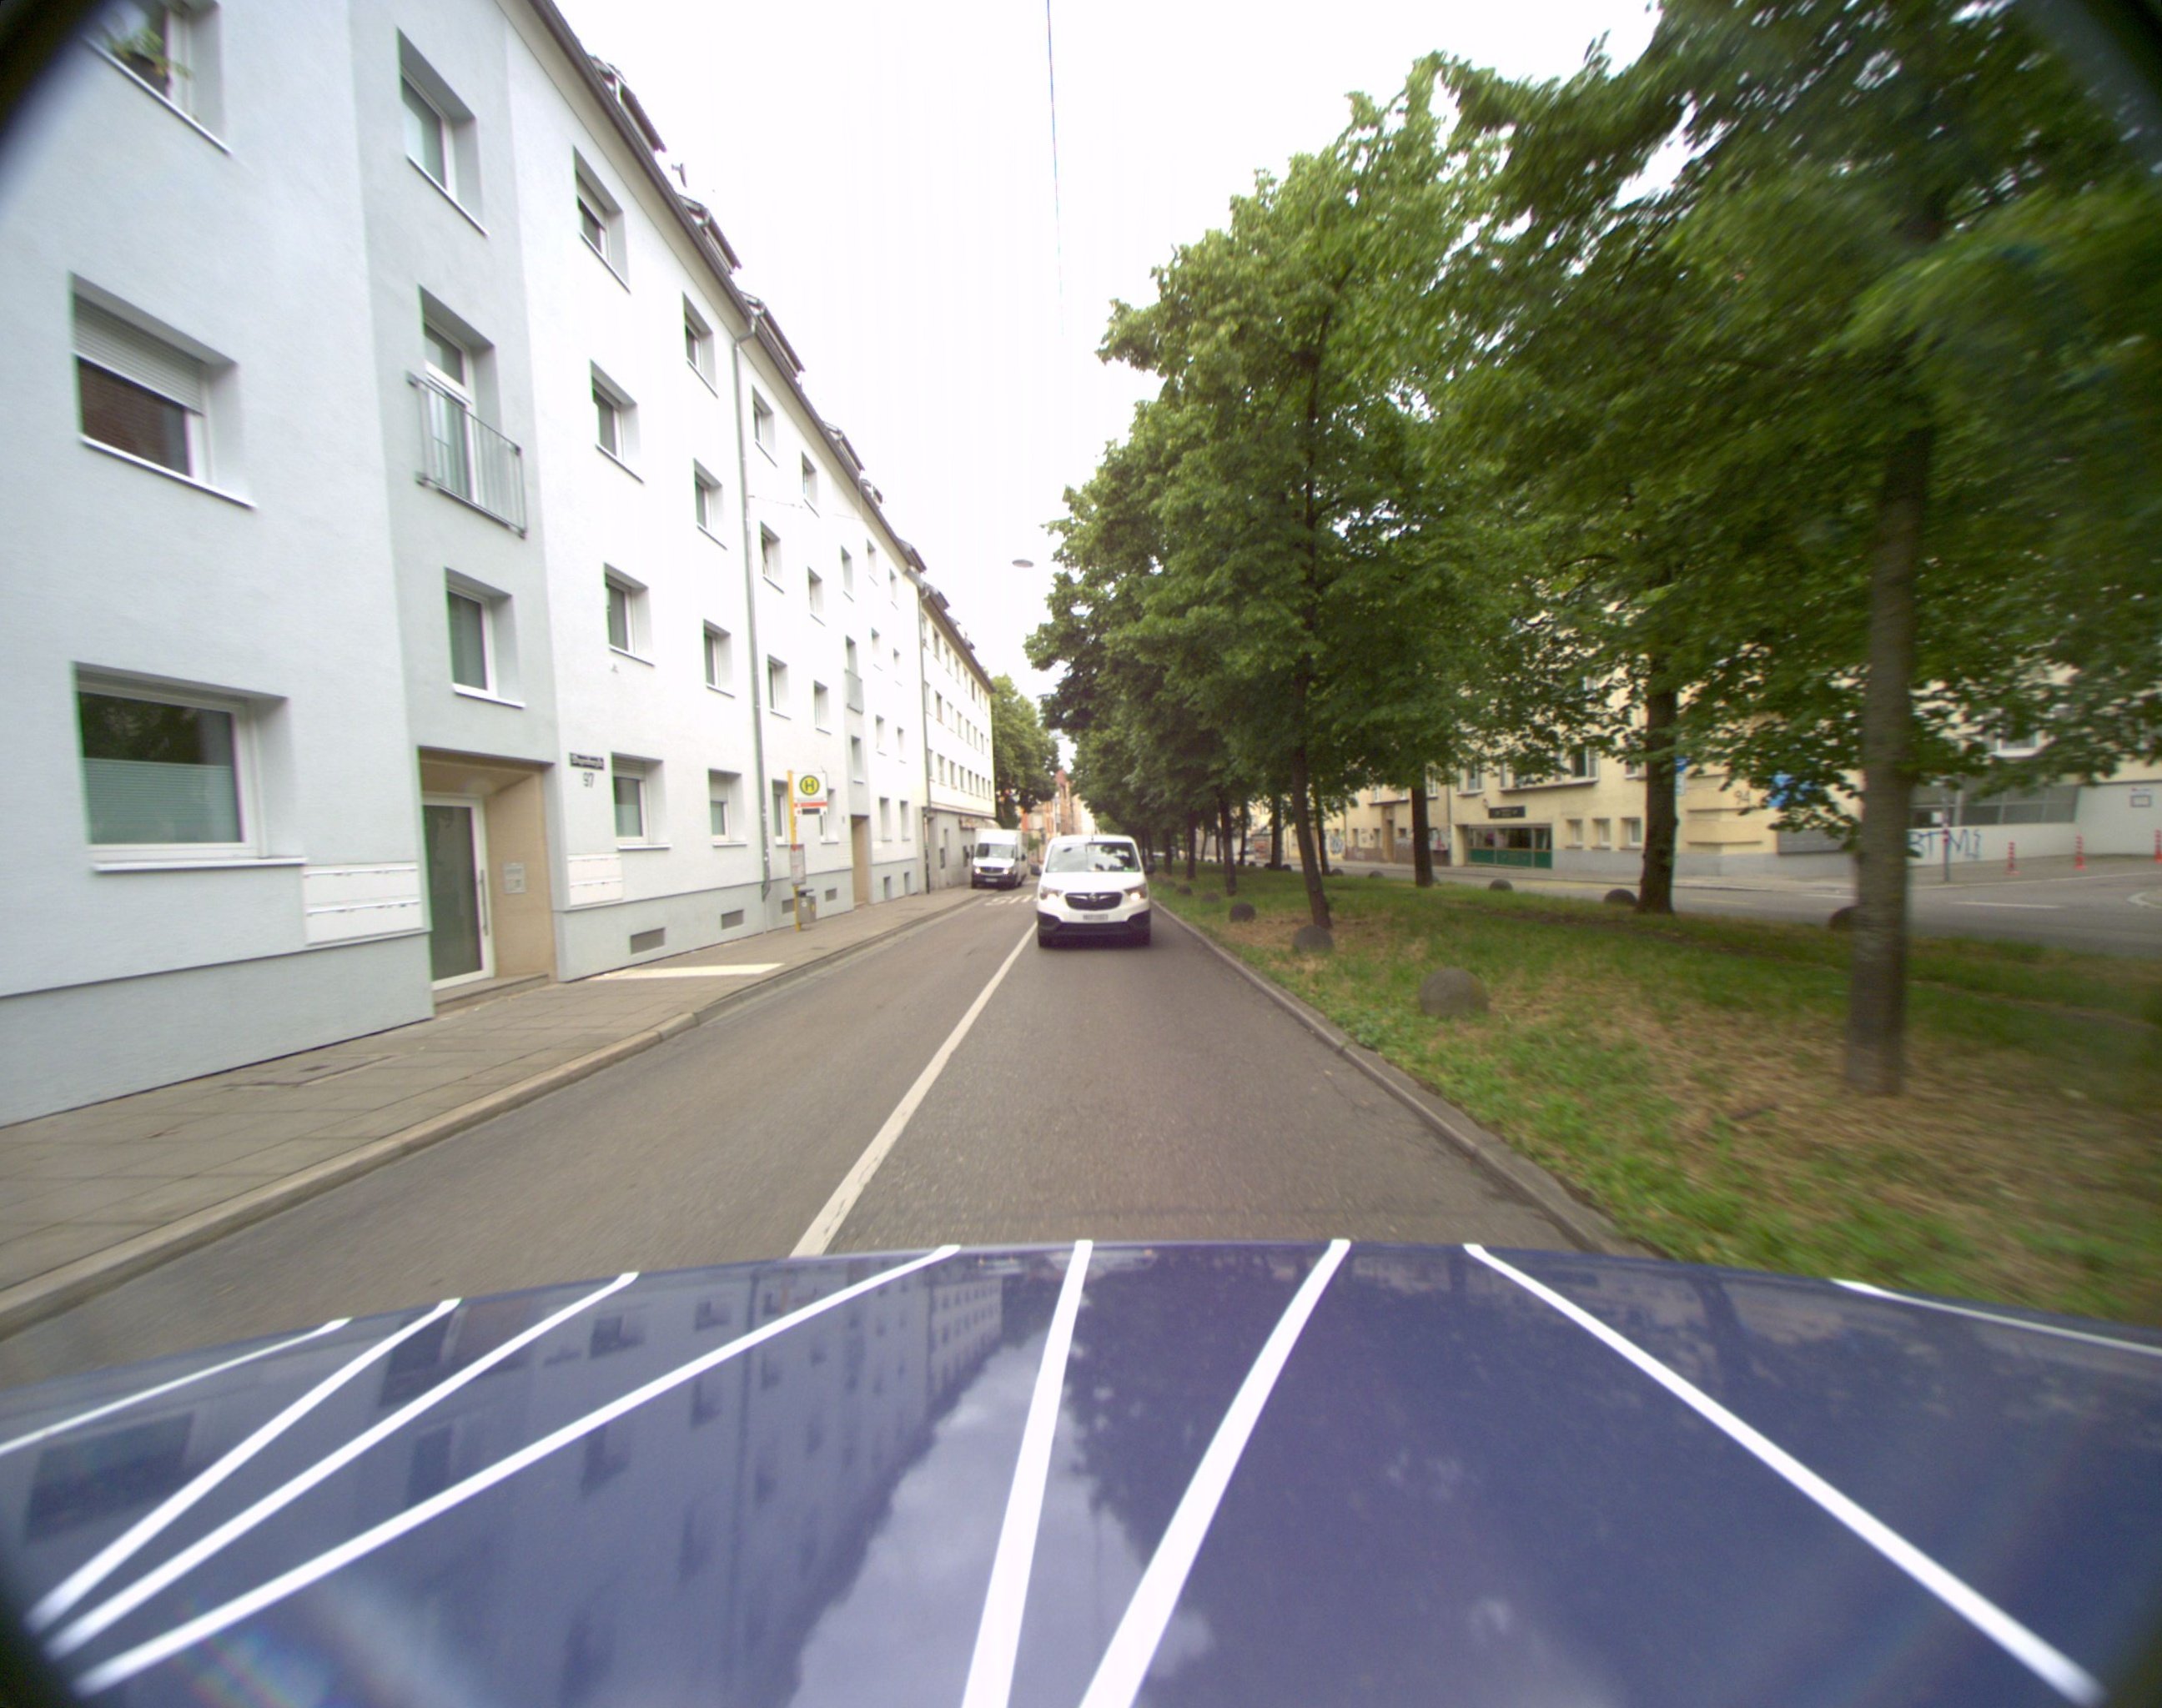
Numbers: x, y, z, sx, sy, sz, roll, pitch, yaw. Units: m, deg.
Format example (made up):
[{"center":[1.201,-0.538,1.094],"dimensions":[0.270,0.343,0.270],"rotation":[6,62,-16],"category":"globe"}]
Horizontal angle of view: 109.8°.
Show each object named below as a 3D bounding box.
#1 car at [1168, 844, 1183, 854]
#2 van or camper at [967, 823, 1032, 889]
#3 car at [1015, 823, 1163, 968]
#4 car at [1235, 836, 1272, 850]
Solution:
[{"center":[15.765,-0.867,127.397],"dimensions":[1.953,1.619,4.364],"rotation":[-2,0,0],"category":"car"},{"center":[-3.805,0.060,37.029],"dimensions":[2.486,2.787,7.236],"rotation":[-2,1,-2],"category":"van or camper"},{"center":[0.325,0.535,12.250],"dimensions":[1.745,1.830,4.345],"rotation":[-4,0,8],"category":"car"},{"center":[22.093,-1.448,97.268],"dimensions":[4.298,1.411,2.048],"rotation":[-5,0,4],"category":"car"}]
